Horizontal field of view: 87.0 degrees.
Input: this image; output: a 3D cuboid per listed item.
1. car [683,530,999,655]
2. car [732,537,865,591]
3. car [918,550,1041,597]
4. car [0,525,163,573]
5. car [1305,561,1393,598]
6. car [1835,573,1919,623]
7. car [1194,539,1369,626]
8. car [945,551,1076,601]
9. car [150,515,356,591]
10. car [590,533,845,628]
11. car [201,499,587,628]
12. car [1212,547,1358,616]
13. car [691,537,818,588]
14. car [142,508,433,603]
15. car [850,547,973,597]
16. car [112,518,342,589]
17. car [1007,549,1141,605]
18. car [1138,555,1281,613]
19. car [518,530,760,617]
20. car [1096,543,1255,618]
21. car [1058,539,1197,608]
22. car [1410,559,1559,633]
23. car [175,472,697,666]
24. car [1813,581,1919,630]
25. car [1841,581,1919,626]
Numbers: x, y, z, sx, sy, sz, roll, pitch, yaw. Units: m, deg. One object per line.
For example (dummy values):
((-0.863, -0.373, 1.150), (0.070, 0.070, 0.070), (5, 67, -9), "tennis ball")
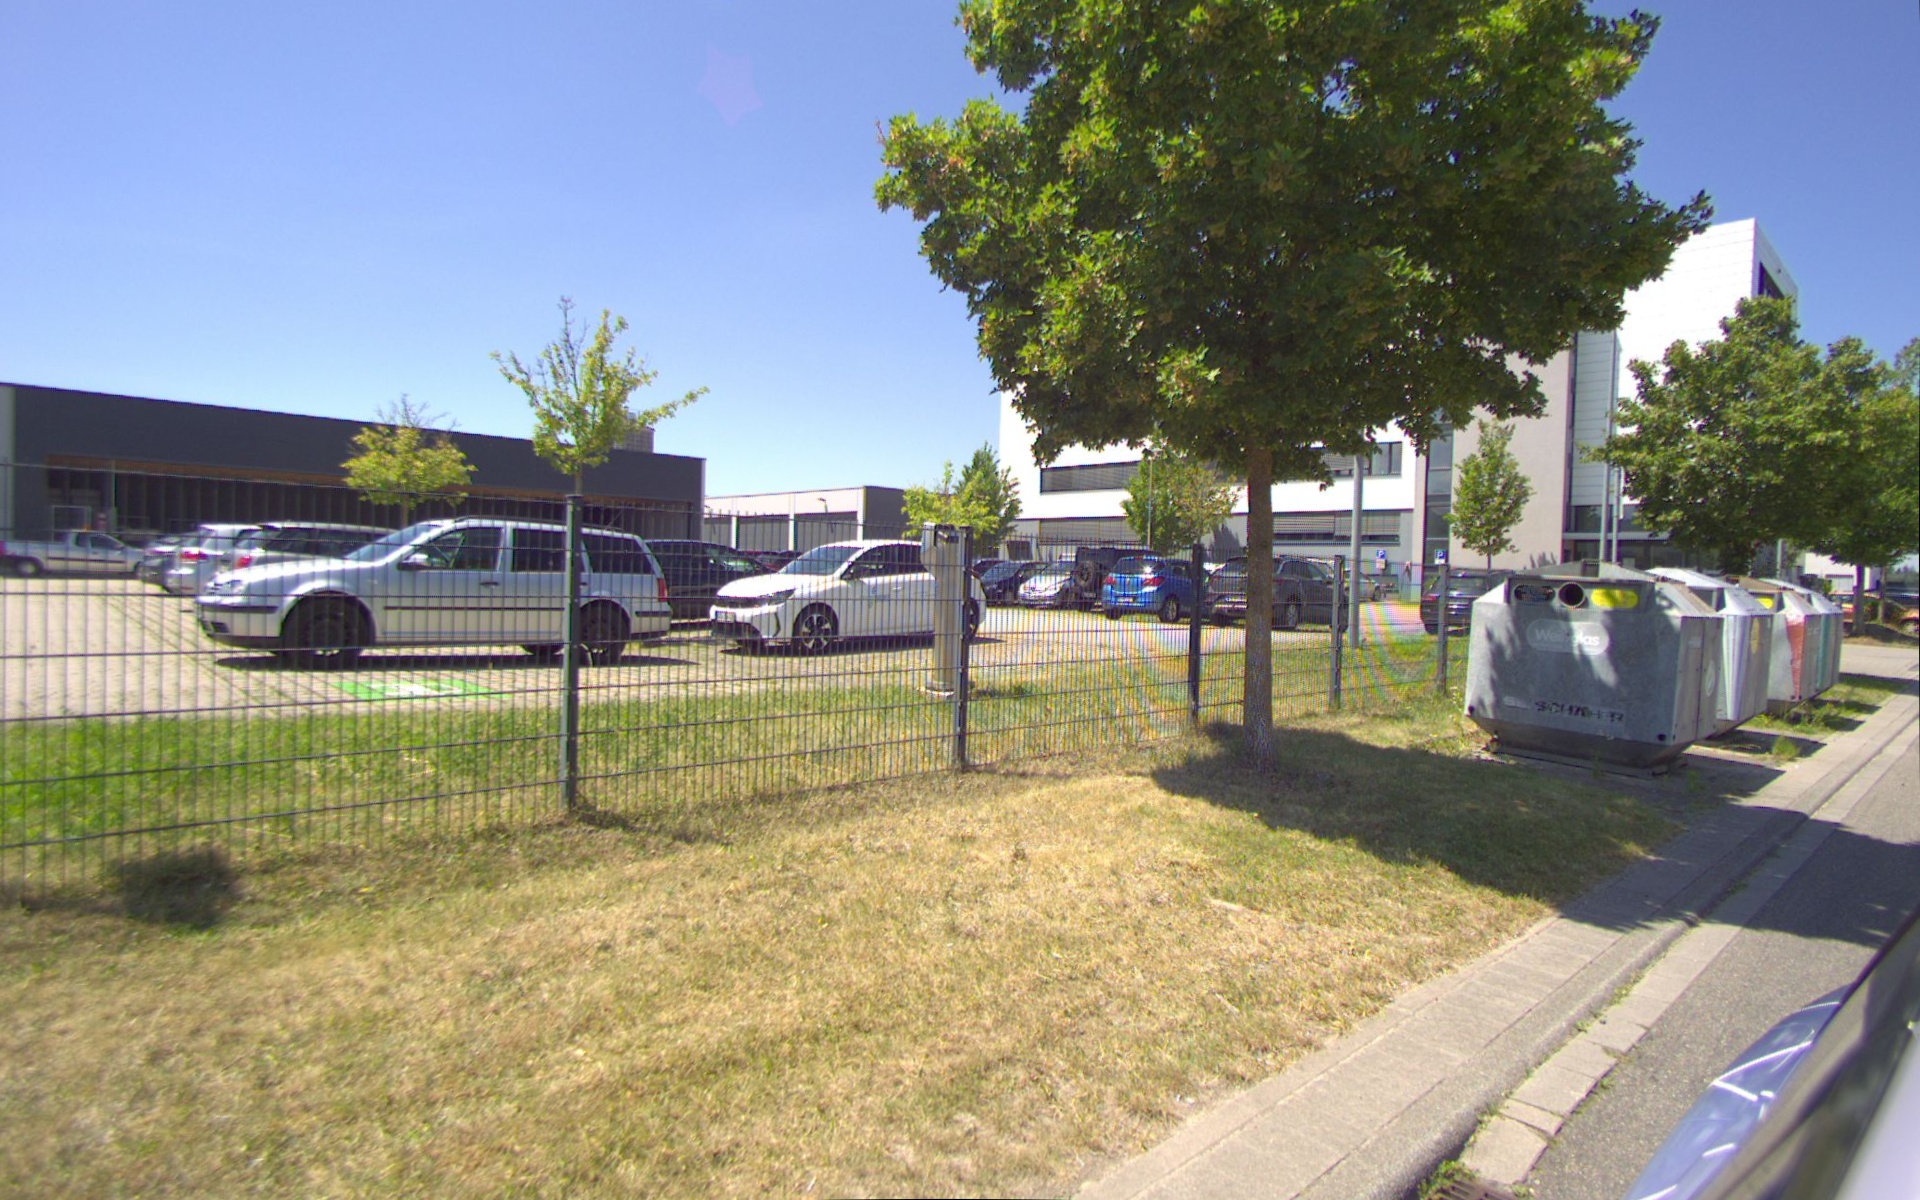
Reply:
((-1.501, -0.201, 13.814), (4.076, 1.450, 1.791), (-3, 4, -45), "car")
((-5.344, -1.188, 33.860), (4.009, 1.604, 1.913), (1, 2, -45), "car")
((0.740, -1.015, 36.527), (4.444, 1.551, 1.913), (-3, 4, -45), "car")
((-28.491, -1.660, 32.778), (4.034, 1.479, 1.791), (-3, 4, -45), "car")
((16.966, -0.937, 44.082), (4.149, 1.478, 1.809), (-1, 4, -40), "car")
((36.840, -0.066, 39.328), (1.693, 1.787, 3.998), (0, 3, -39), "car")
((6.937, -0.338, 21.601), (4.172, 1.643, 1.791), (3, 0, -45), "car")
((1.752, -0.870, 34.072), (4.444, 1.551, 1.913), (-3, 4, -45), "car")
((-17.842, -1.210, 25.651), (4.034, 1.783, 1.791), (-3, 4, -45), "car")
((-4.149, -0.420, 17.750), (4.034, 1.479, 1.791), (-3, 4, -45), "car")
((-7.709, -0.425, 14.081), (4.349, 1.500, 1.791), (2, 1, -45), "car")
((8.821, -0.580, 27.223), (4.576, 1.673, 1.841), (-3, 4, -45), "car")
((-7.246, -1.315, 35.943), (4.009, 1.604, 1.913), (1, 2, -45), "car")
((-11.787, -0.812, 17.916), (4.034, 1.479, 1.791), (-3, 4, -45), "car")
((-1.763, -1.096, 37.777), (4.459, 1.735, 1.913), (-3, 4, -45), "car")
((-16.665, -1.089, 23.131), (4.034, 1.479, 1.791), (-3, 4, -45), "car")
((3.691, -0.799, 32.296), (4.444, 1.642, 1.913), (-3, 4, -45), "car")
((7.163, -0.519, 28.779), (4.576, 1.450, 1.841), (-3, 4, -45), "car")
((-6.016, -0.558, 19.281), (4.034, 1.479, 1.791), (-3, 4, -45), "car")
((5.013, -0.414, 23.281), (3.957, 1.510, 1.647), (3, 1, -45), "car")
((5.107, -0.864, 30.520), (4.444, 1.922, 1.913), (-3, 4, -45), "car")
((12.070, -0.162, 23.164), (4.339, 1.472, 1.791), (-3, 4, -45), "car")
((-5.089, -0.233, 10.269), (4.349, 1.550, 1.791), (2, 1, -45), "car")
((32.824, 0.194, 35.703), (1.696, 1.513, 3.992), (0, 4, -44), "car")
((35.026, 0.164, 37.242), (1.753, 1.513, 3.716), (0, 4, -44), "car")
